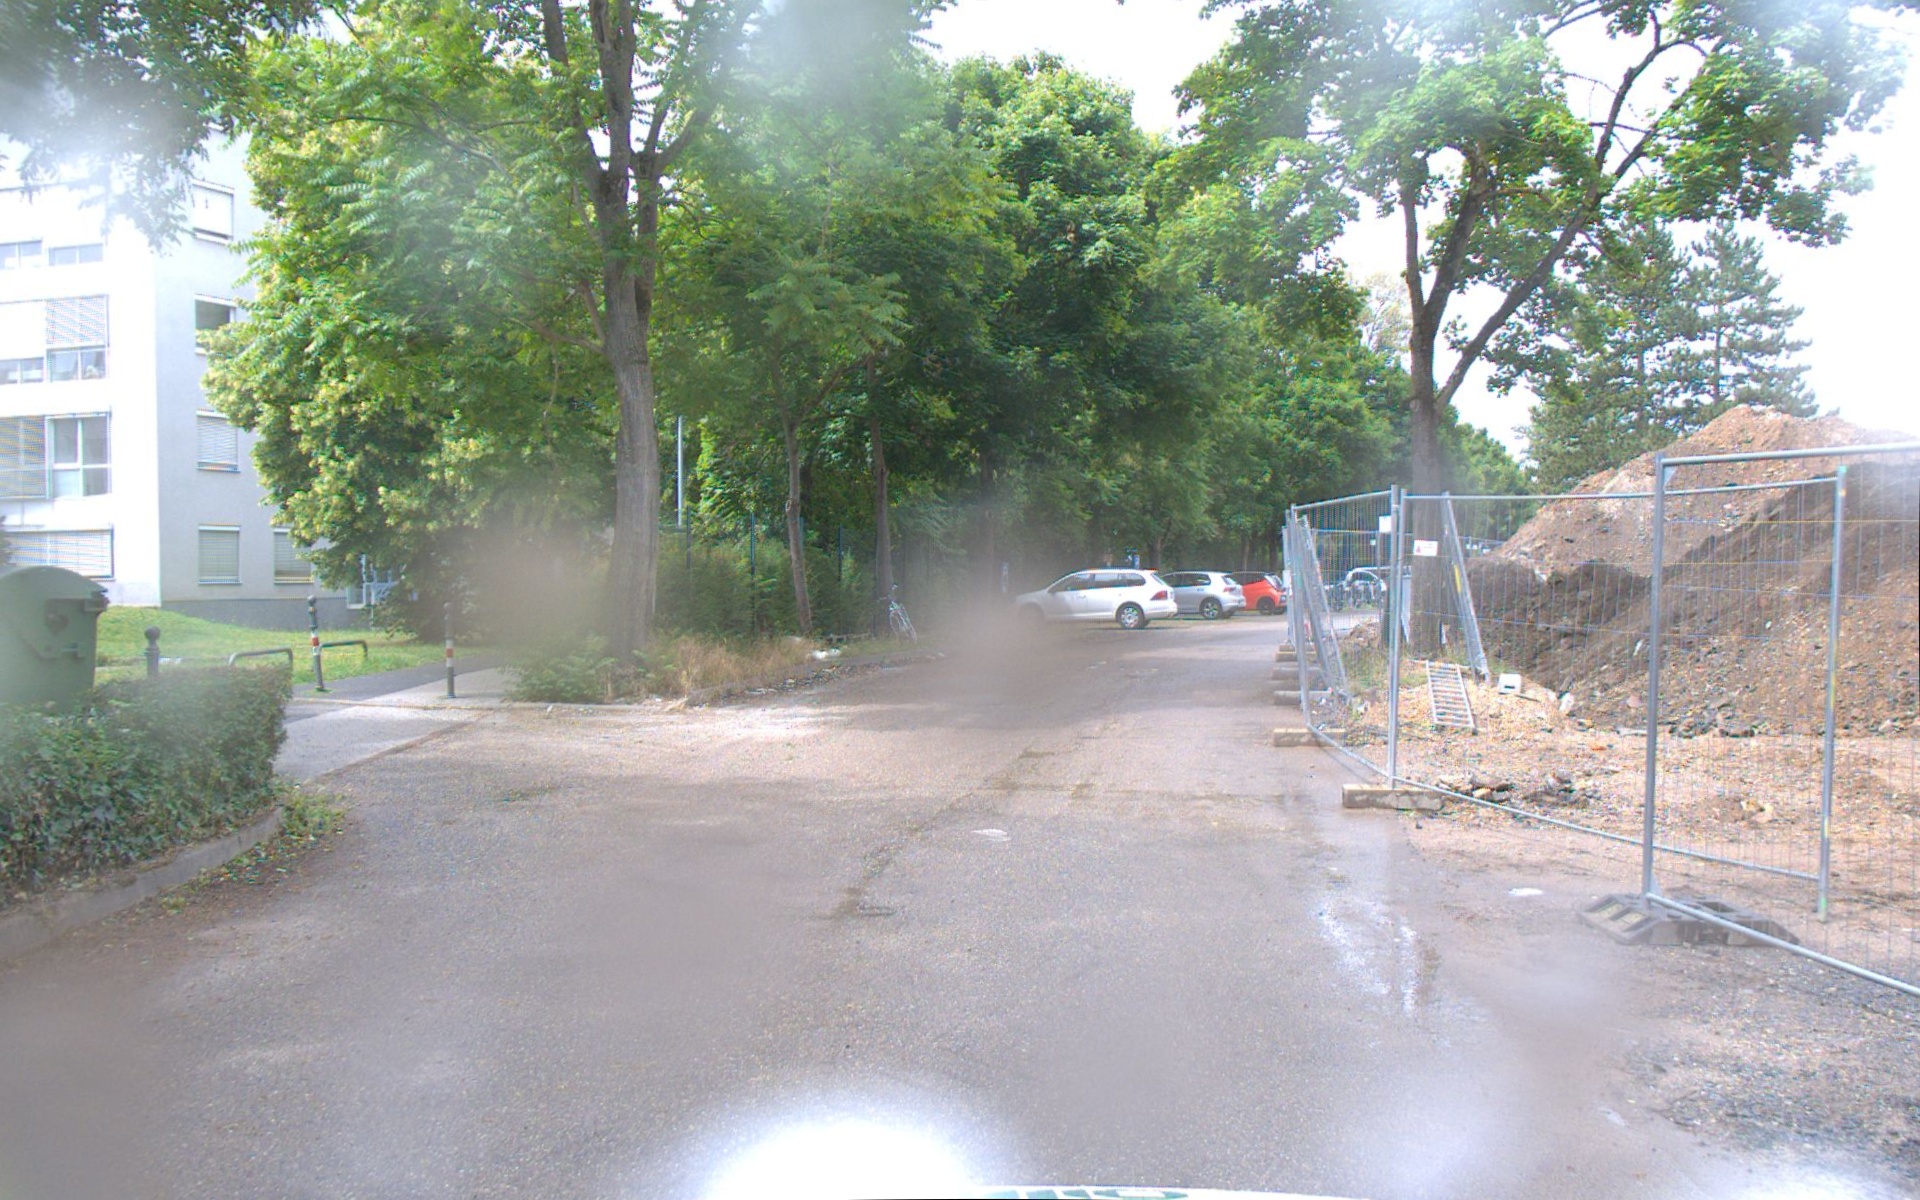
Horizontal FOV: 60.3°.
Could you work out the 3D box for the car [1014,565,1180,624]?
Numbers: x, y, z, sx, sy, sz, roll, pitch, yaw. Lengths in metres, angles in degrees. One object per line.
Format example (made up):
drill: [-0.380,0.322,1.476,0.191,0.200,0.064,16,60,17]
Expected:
car: [3.503,-0.134,42.054,3.948,1.434,1.983,0,0,14]

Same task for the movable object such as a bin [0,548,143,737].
movable object such as a bin: [-8.034,0.336,13.924,1.524,1.496,1.413,0,0,23]

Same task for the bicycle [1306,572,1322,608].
bicycle: [13.641,-0.381,63.753,0.583,1.331,2.671,0,0,12]

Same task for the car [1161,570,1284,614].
car: [8.882,-0.266,55.903,3.948,1.434,1.983,0,0,14]

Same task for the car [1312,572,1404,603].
car: [18.733,-0.597,77.814,3.953,1.434,1.981,0,0,24]

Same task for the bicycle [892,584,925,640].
bicycle: [-0.872,0.190,28.286,0.457,0.894,1.571,1,1,2]

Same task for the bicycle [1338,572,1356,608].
bicycle: [14.843,-0.371,63.464,0.583,1.331,2.671,0,0,12]

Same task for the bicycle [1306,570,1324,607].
bicycle: [12.797,-0.390,59.633,0.583,1.289,2.671,0,0,12]

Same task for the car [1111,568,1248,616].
car: [6.732,-0.242,50.617,3.948,1.434,1.983,0,0,14]

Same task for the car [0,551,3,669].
car: [-18.689,0.203,27.089,1.955,2.049,4.947,-1,0,27]

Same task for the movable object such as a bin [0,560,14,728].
movable object such as a bin: [-9.431,0.380,14.520,1.431,1.496,1.363,0,0,23]

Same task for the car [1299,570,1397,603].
car: [17.229,-0.585,73.395,3.953,1.434,1.981,0,0,24]

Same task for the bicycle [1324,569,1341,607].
bicycle: [13.394,-0.403,59.522,0.583,1.331,2.671,0,0,12]
